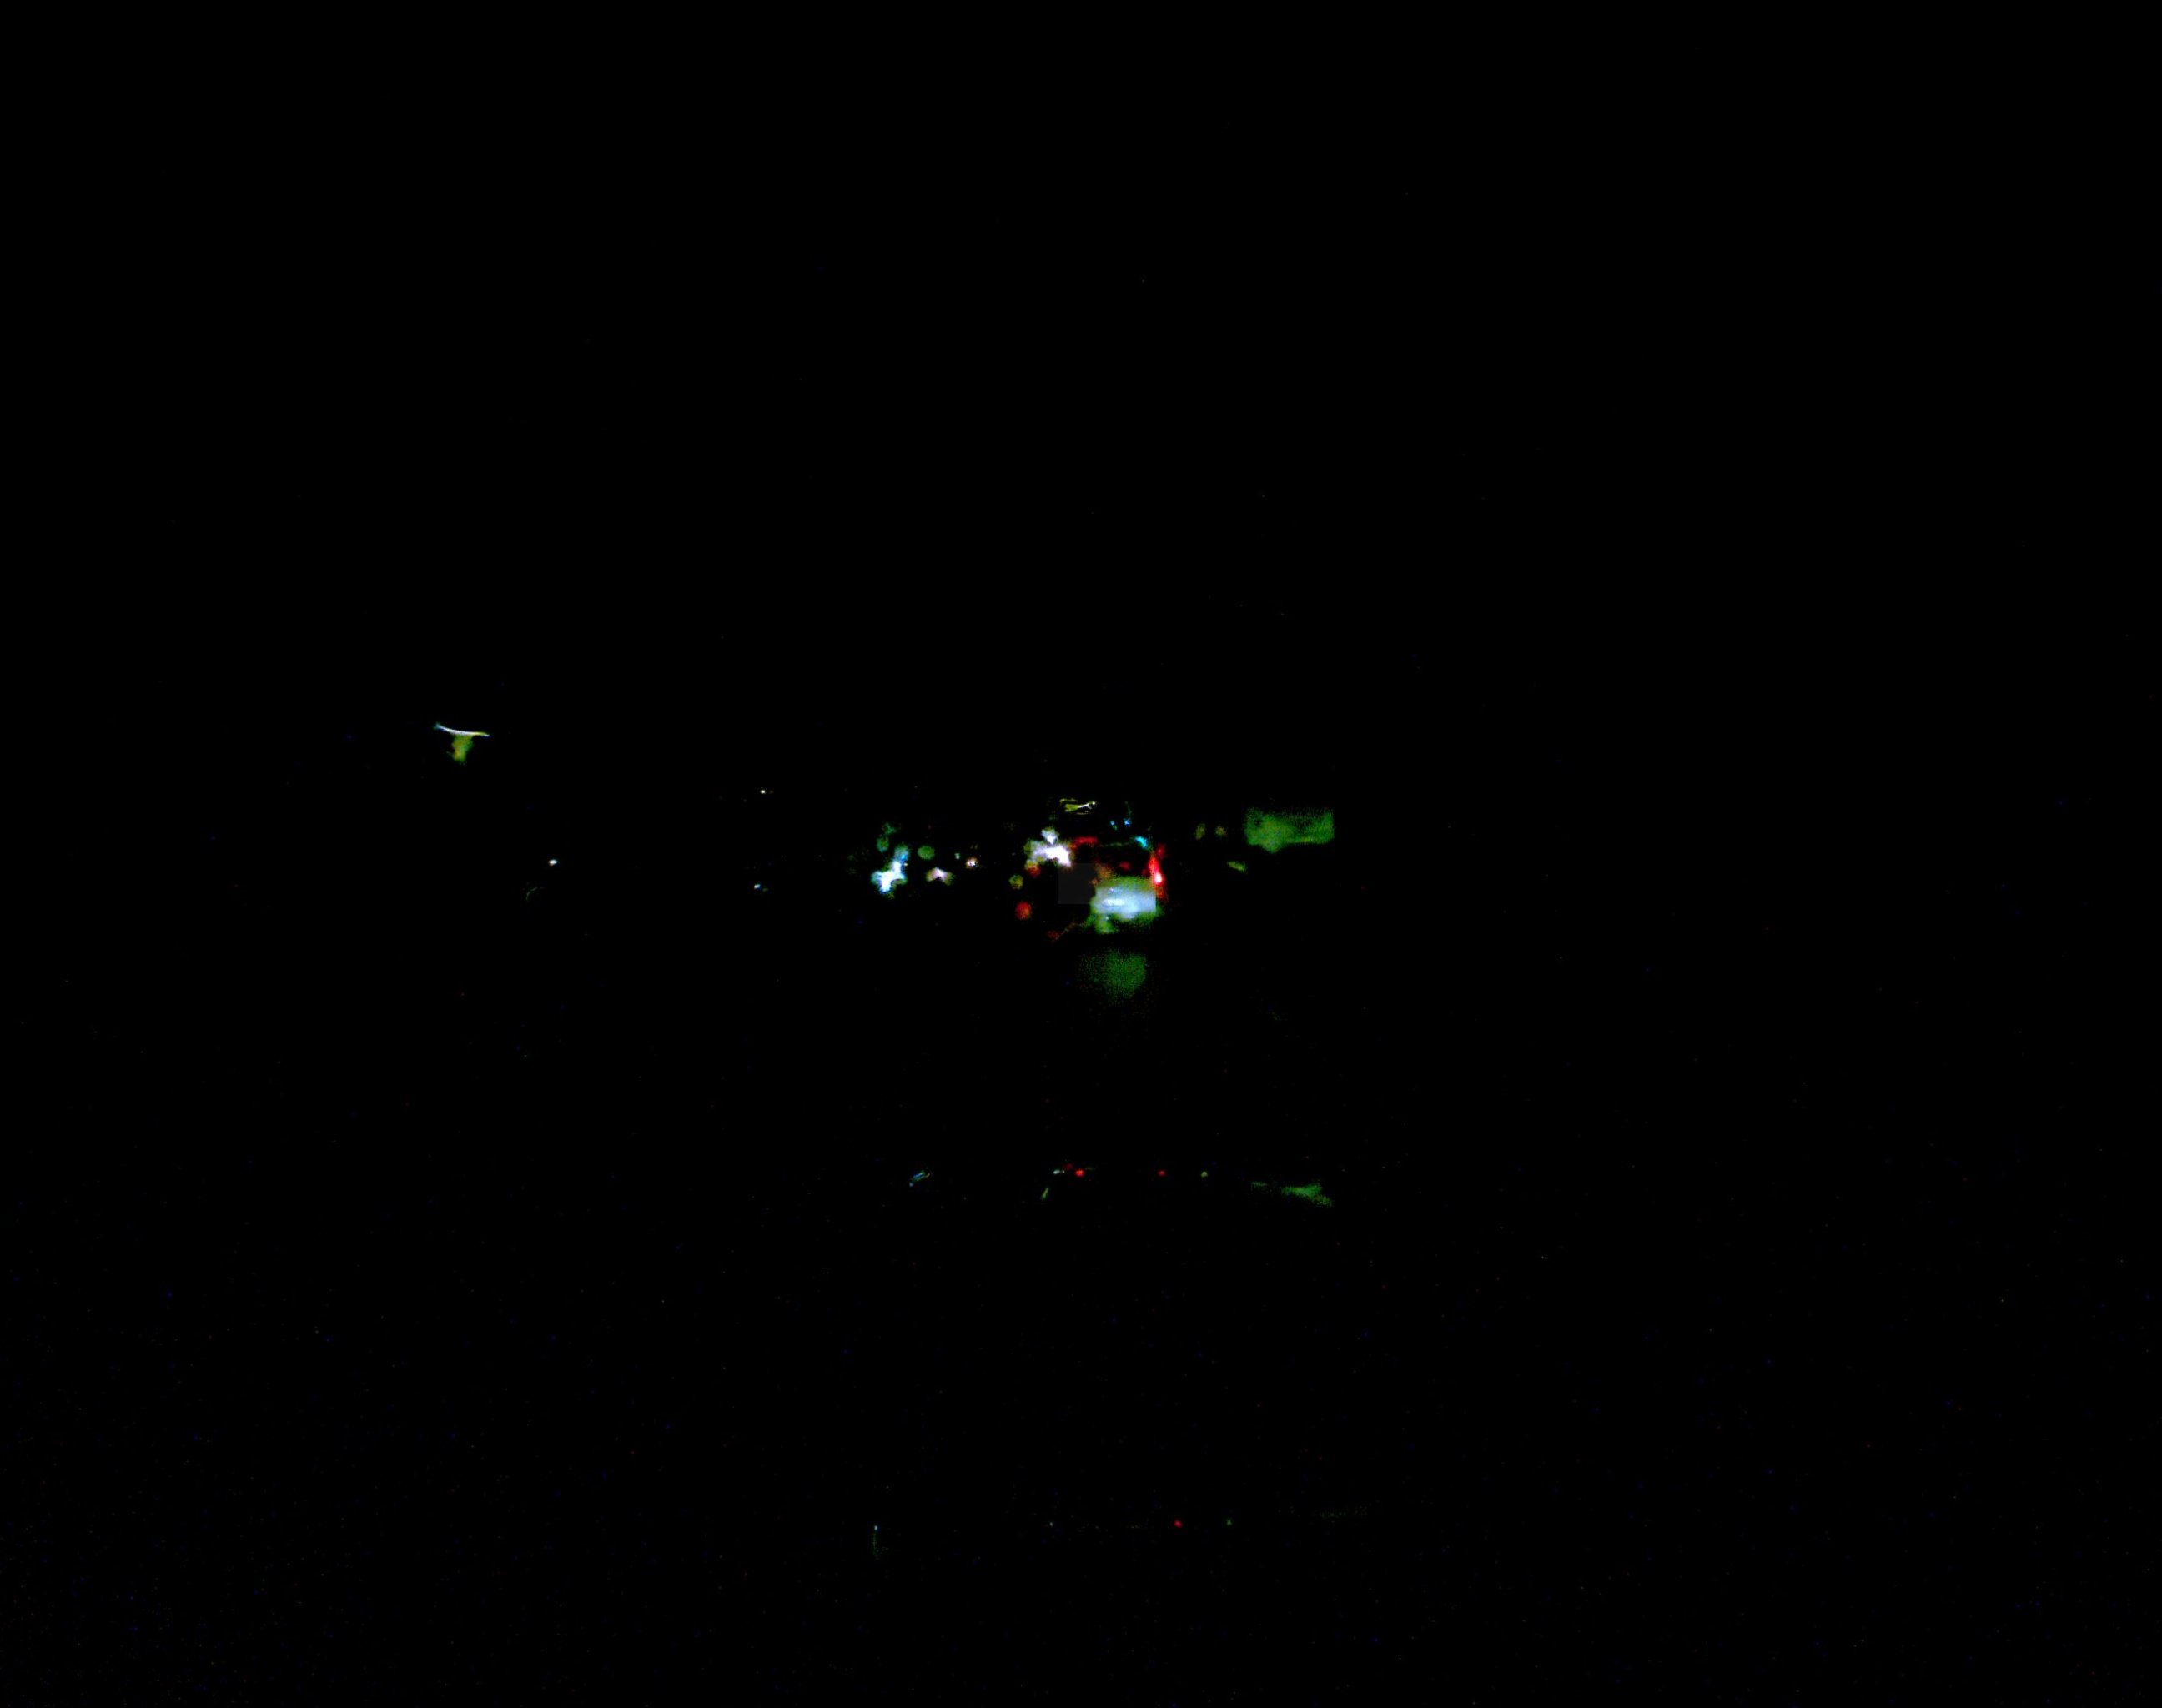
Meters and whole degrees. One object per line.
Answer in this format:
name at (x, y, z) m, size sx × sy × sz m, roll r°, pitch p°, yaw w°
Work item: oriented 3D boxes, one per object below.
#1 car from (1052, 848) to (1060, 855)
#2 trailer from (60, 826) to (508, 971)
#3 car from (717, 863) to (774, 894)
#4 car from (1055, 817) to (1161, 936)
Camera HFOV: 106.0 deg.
car at (-5.961, -0.545, 194.391) m, size 1.797 × 1.588 × 4.028 m, roll -3°, pitch 0°, yaw -1°
trailer at (-30.413, 1.491, 33.077) m, size 3.957 × 4.610 × 14.249 m, roll 0°, pitch -1°, yaw 1°
car at (-21.128, 1.520, 51.496) m, size 1.780 × 1.693 × 4.218 m, roll -2°, pitch 1°, yaw 0°
car at (0.594, 0.383, 17.060) m, size 1.784 × 2.021 × 4.583 m, roll -4°, pitch 0°, yaw 3°
